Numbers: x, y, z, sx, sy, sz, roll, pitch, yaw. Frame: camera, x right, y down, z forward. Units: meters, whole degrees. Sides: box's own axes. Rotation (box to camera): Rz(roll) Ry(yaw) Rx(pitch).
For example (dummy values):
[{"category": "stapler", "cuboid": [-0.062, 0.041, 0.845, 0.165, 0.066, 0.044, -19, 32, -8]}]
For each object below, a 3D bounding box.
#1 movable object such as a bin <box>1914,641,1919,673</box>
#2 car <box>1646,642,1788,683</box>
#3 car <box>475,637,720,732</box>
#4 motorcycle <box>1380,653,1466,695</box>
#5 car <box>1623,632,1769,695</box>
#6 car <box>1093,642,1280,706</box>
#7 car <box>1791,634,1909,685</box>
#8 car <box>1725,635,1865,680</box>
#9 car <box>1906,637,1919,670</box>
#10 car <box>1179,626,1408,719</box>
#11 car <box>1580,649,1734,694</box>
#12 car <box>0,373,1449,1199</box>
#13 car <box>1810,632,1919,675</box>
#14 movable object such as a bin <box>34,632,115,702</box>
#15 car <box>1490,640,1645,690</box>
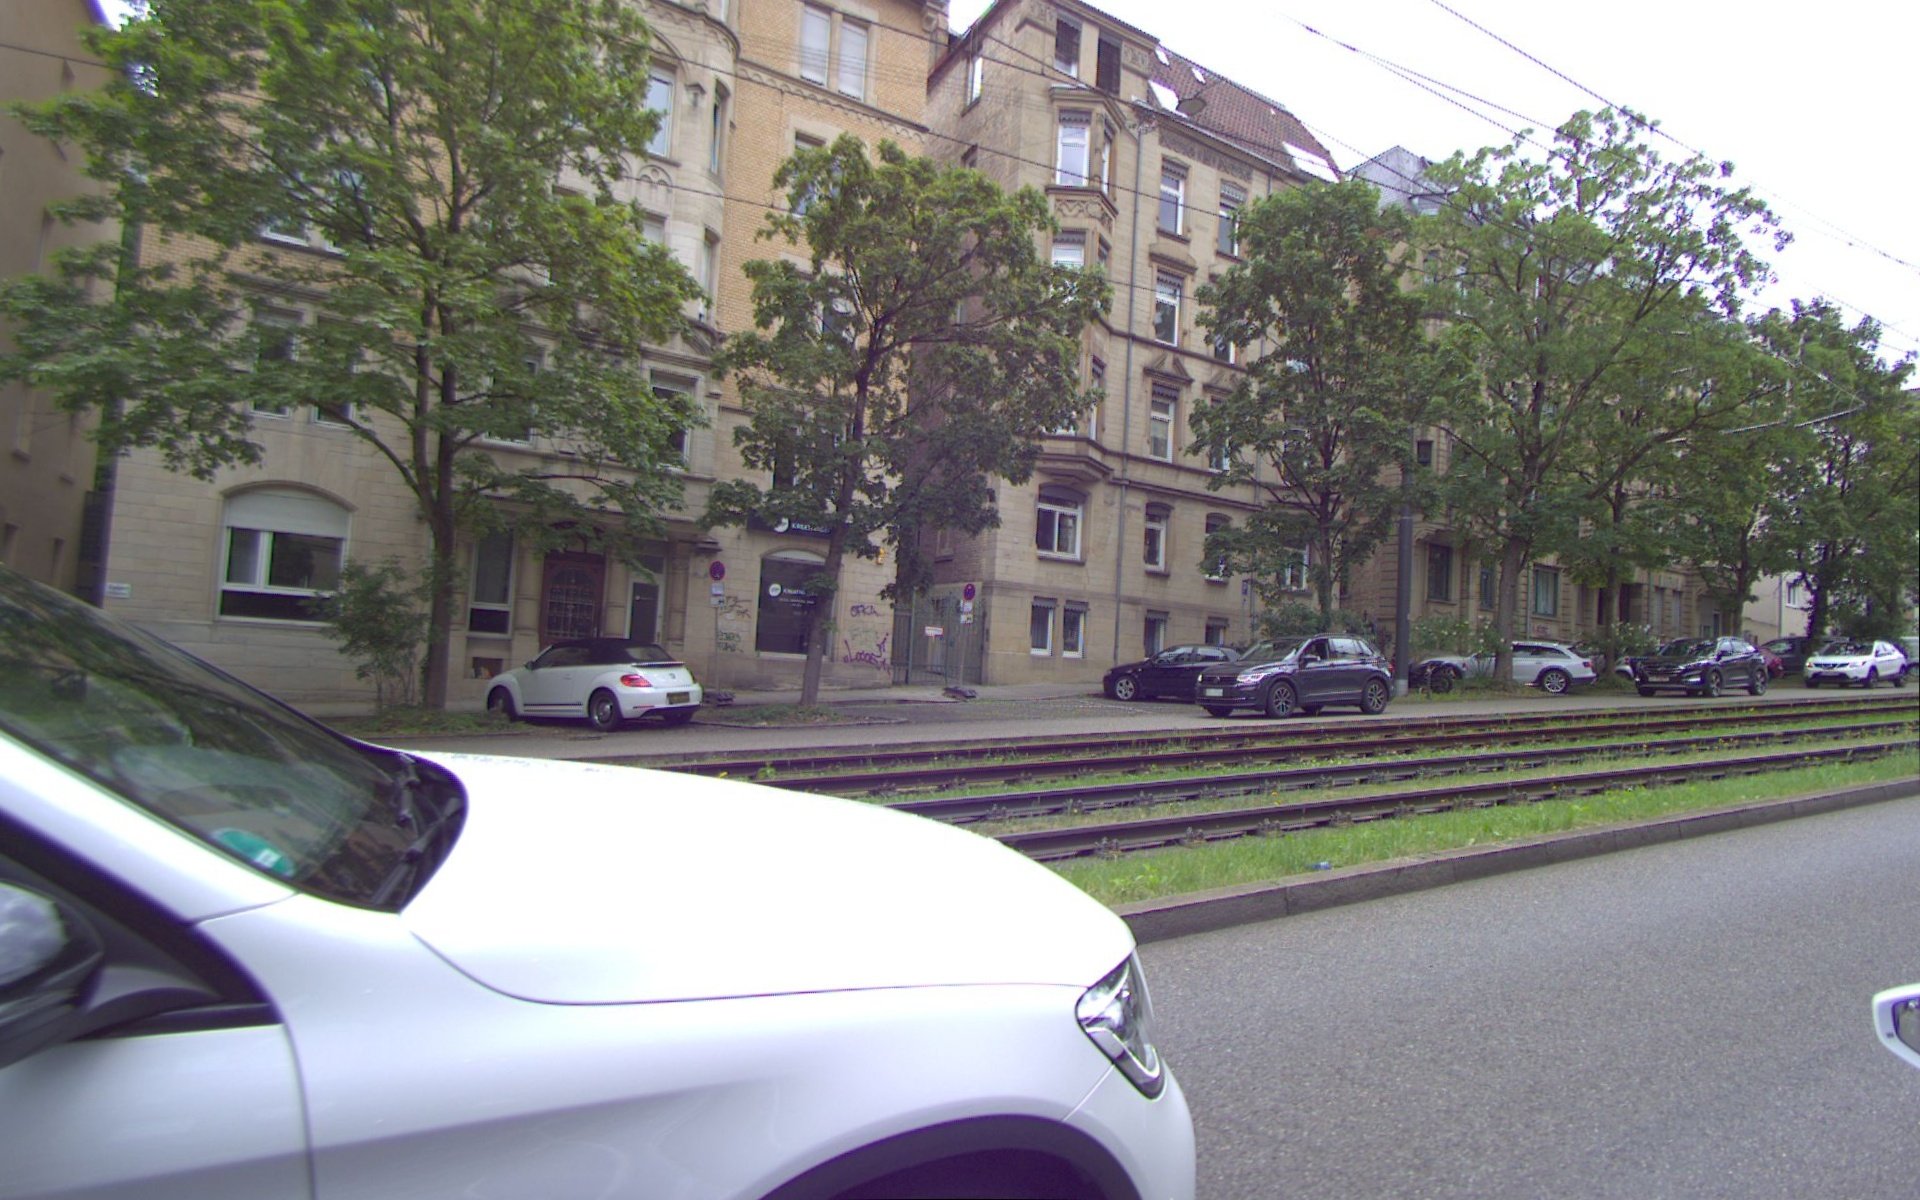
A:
[{"category": "movable object such as a bin", "cuboid": [44.623, 2.628, 46.077, 1.261, 1.419, 1.090, 0, -2, 44]}, {"category": "car", "cuboid": [28.877, 2.363, 38.481, 4.117, 1.454, 1.868, -1, -3, 31]}, {"category": "car", "cuboid": [-6.220, 1.365, 17.182, 3.928, 1.440, 1.783, -1, -2, 29]}, {"category": "motorcycle", "cuboid": [13.012, 2.065, 28.260, 2.164, 1.072, 0.625, 1, -2, 26]}, {"category": "car", "cuboid": [20.812, 1.781, 28.391, 4.193, 1.678, 1.772, 2, -4, -30]}, {"category": "car", "cuboid": [5.463, 1.739, 24.372, 4.110, 1.382, 1.709, -1, -2, 31]}, {"category": "car", "cuboid": [30.728, 2.053, 34.664, 4.295, 1.637, 1.772, 2, -4, -30]}, {"category": "car", "cuboid": [34.110, 2.321, 41.183, 4.117, 1.791, 1.868, -1, -3, 31]}, {"category": "car", "cuboid": [52.302, 2.863, 51.947, 4.522, 1.704, 1.934, 1, -1, 27]}, {"category": "car", "cuboid": [6.666, 1.403, 20.006, 4.418, 1.671, 1.872, 1, -4, -30]}, {"category": "car", "cuboid": [23.918, 2.424, 34.689, 4.114, 1.454, 1.870, -1, -3, 27]}, {"category": "car", "cuboid": [-1.600, 0.655, 1.370, 4.616, 1.689, 1.827, 2, -1, -30]}, {"category": "car", "cuboid": [41.254, 2.396, 45.385, 4.121, 1.860, 1.867, -1, -3, 34]}, {"category": "movable object such as a bin", "cuboid": [-16.491, 1.239, 18.738, 0.905, 1.264, 0.889, 1, -2, -27]}, {"category": "car", "cuboid": [19.075, 2.036, 31.777, 4.079, 1.488, 1.784, -1, -3, 28]}]
